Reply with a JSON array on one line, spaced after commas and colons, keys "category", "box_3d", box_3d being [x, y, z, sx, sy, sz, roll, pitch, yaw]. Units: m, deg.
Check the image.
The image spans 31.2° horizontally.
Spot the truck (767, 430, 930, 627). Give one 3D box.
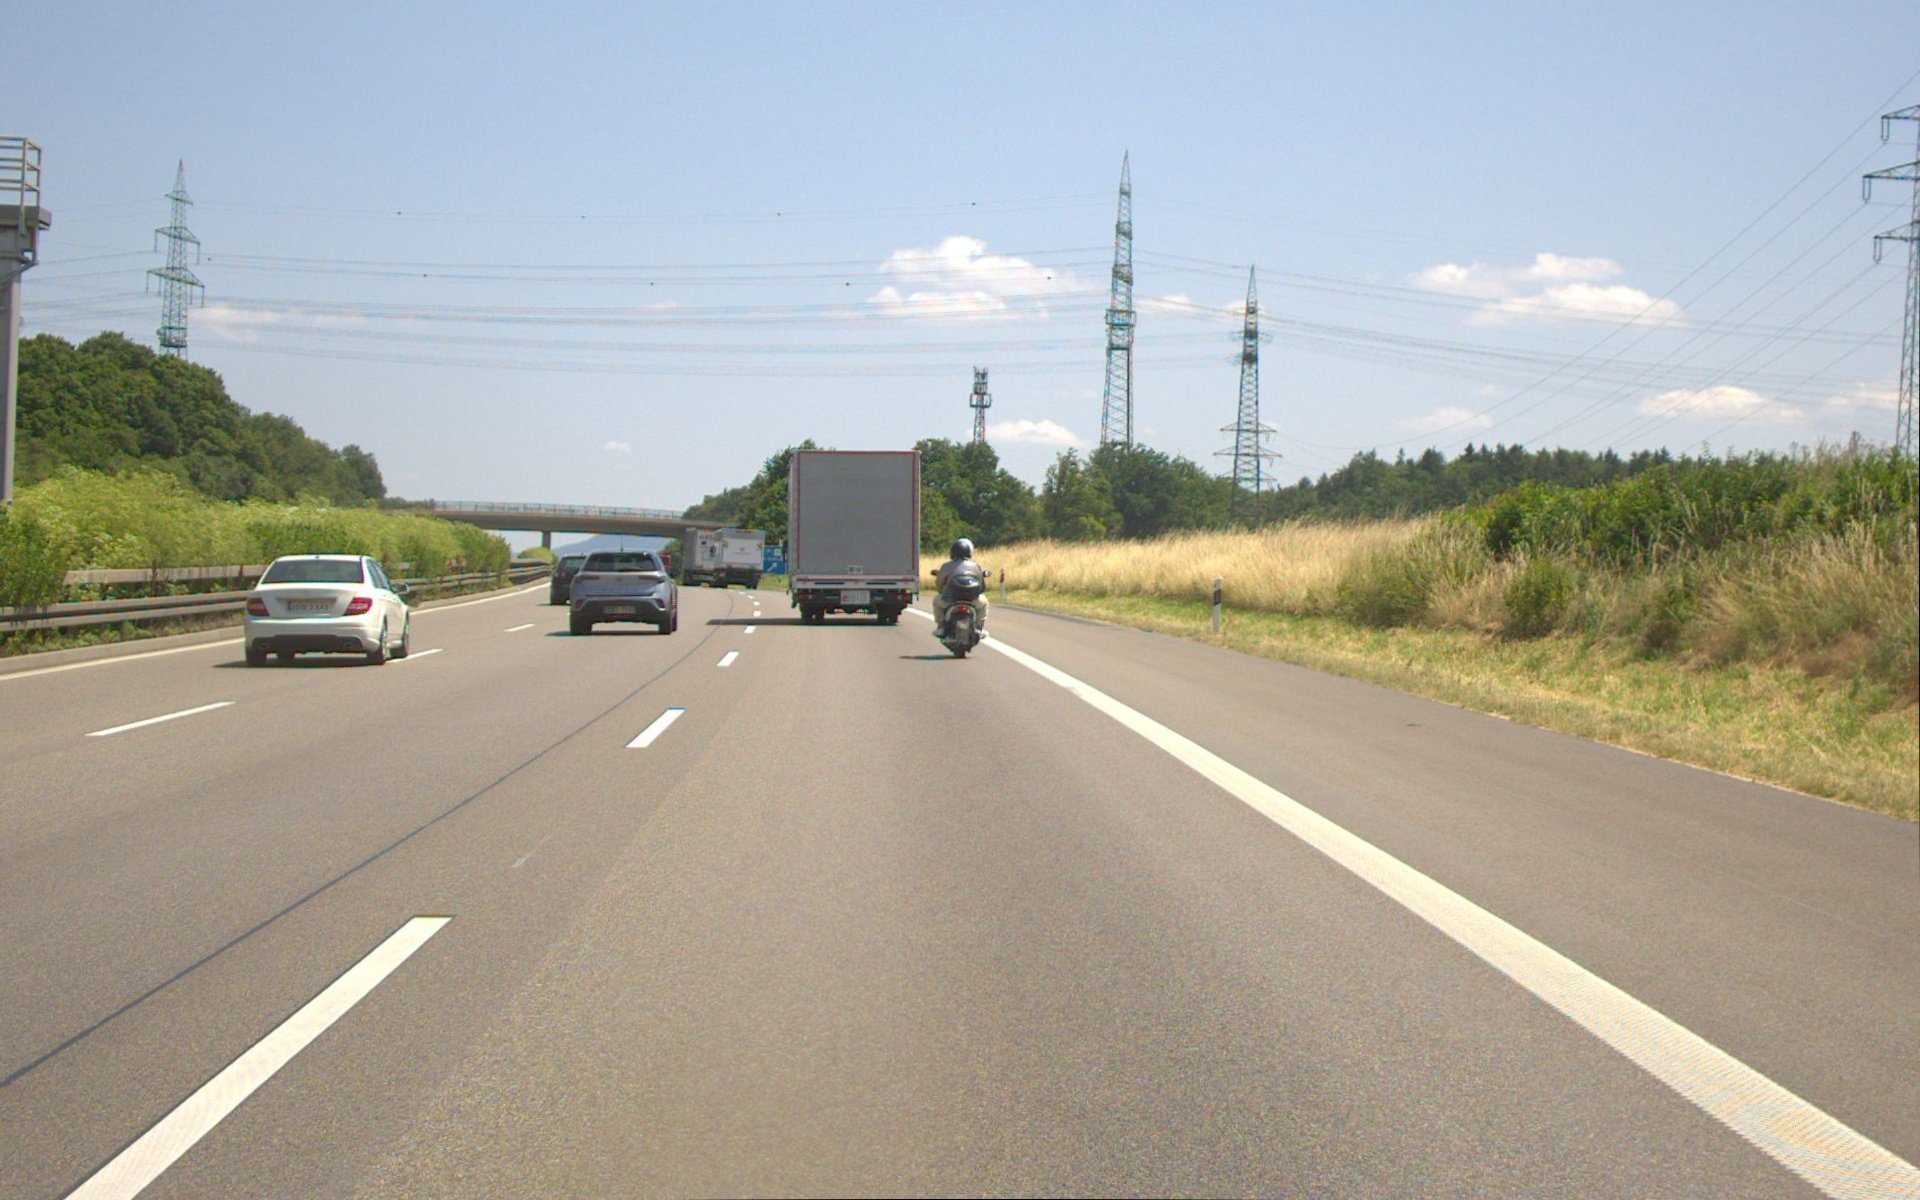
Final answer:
[{"category": "truck", "box_3d": [-2.346, -1.493, 72.889, 3.221, 3.910, 9.062, 0, 1, -2]}]

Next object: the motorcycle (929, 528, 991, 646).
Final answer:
[{"category": "motorcycle", "box_3d": [-0.009, -0.194, 47.694, 0.809, 1.602, 1.782, 0, 1, -2]}]

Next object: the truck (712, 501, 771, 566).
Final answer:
[{"category": "truck", "box_3d": [-13.434, -4.063, 210.931, 3.483, 3.899, 7.291, 0, 1, -5]}]

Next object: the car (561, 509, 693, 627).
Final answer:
[{"category": "car", "box_3d": [-5.863, -0.597, 60.920, 1.993, 2.006, 4.000, 0, 2, -1]}]

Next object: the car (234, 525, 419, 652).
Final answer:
[{"category": "car", "box_3d": [-8.203, -0.184, 44.806, 1.819, 1.535, 3.915, 0, 2, -2]}]

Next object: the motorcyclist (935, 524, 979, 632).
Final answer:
[{"category": "motorcyclist", "box_3d": [-0.041, -0.310, 47.624, 0.572, 1.474, 0.700, 0, 1, -2]}]

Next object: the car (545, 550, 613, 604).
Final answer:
[{"category": "car", "box_3d": [-10.719, -0.675, 96.928, 1.756, 1.424, 4.001, -1, 2, -4]}]
